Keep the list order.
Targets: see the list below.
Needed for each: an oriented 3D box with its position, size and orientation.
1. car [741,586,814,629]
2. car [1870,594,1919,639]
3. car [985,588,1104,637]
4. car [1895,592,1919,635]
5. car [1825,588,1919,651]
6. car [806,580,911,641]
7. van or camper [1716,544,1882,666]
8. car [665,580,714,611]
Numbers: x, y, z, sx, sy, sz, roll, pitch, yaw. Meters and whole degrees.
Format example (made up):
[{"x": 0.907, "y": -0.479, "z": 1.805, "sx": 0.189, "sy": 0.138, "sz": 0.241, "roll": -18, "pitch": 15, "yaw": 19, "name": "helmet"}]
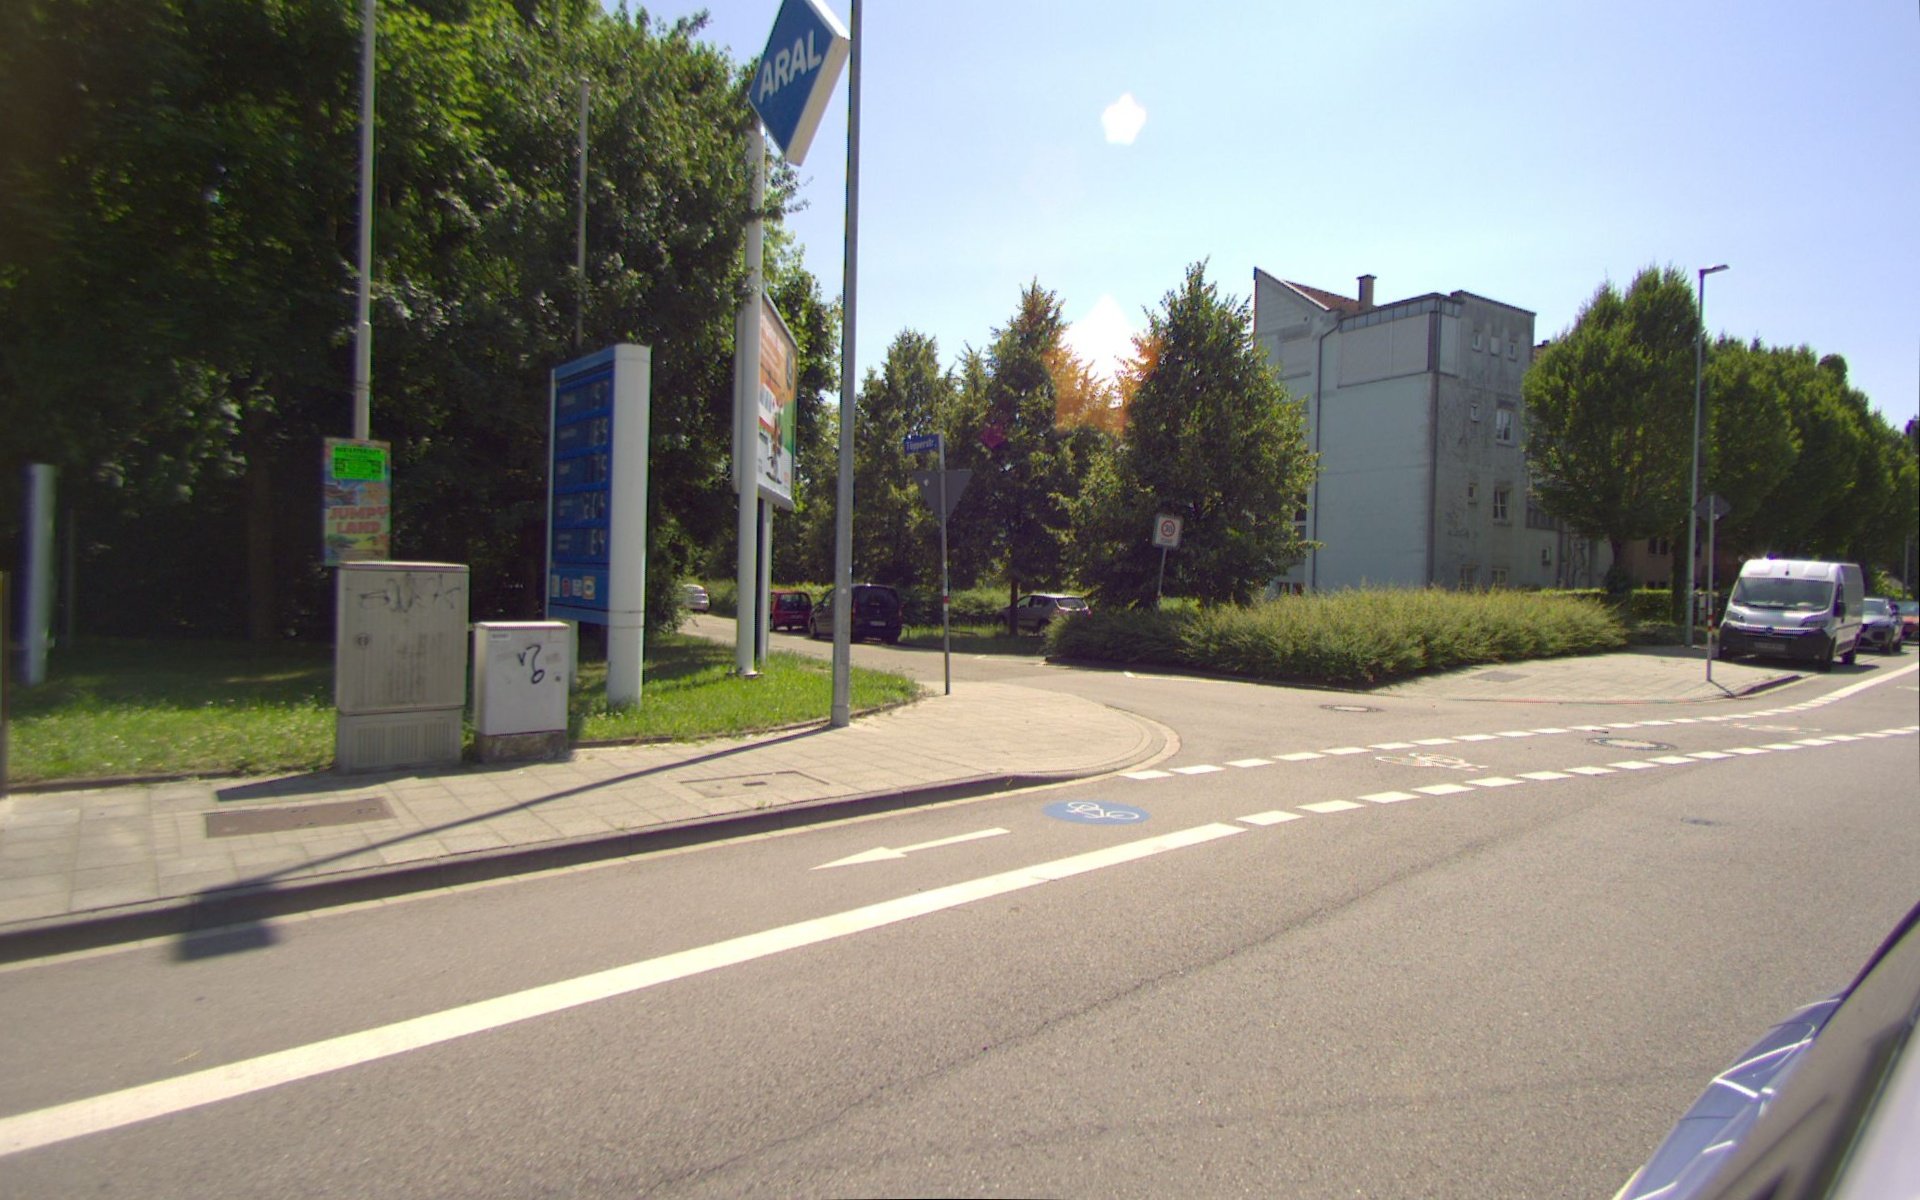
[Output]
[{"x": -6.968, "y": 0.251, "z": 38.394, "sx": 1.806, "sy": 1.507, "sz": 4.008, "roll": 1, "pitch": 1, "yaw": -24, "name": "car"}, {"x": 35.046, "y": 0.589, "z": 37.210, "sx": 3.929, "sy": 1.571, "sz": 1.812, "roll": 0, "pitch": 1, "yaw": -40, "name": "car"}, {"x": 2.897, "y": 0.399, "z": 35.467, "sx": 1.961, "sy": 1.540, "sz": 4.229, "roll": 0, "pitch": 1, "yaw": -33, "name": "car"}, {"x": 39.110, "y": 0.538, "z": 40.531, "sx": 3.930, "sy": 1.682, "sz": 1.997, "roll": 0, "pitch": 1, "yaw": -41, "name": "car"}, {"x": 27.310, "y": 0.548, "z": 30.186, "sx": 3.933, "sy": 1.653, "sz": 1.825, "roll": 0, "pitch": 3, "yaw": -44, "name": "car"}, {"x": -3.207, "y": 0.274, "z": 31.283, "sx": 1.959, "sy": 1.708, "sz": 4.007, "roll": 1, "pitch": 1, "yaw": -26, "name": "car"}, {"x": 20.179, "y": 0.061, "z": 24.225, "sx": 5.891, "sy": 2.513, "sz": 2.124, "roll": 0, "pitch": 4, "yaw": -43, "name": "van or camper"}, {"x": -14.531, "y": -0.264, "z": 54.284, "sx": 1.958, "sy": 1.571, "sz": 4.008, "roll": 1, "pitch": 1, "yaw": -24, "name": "car"}]
